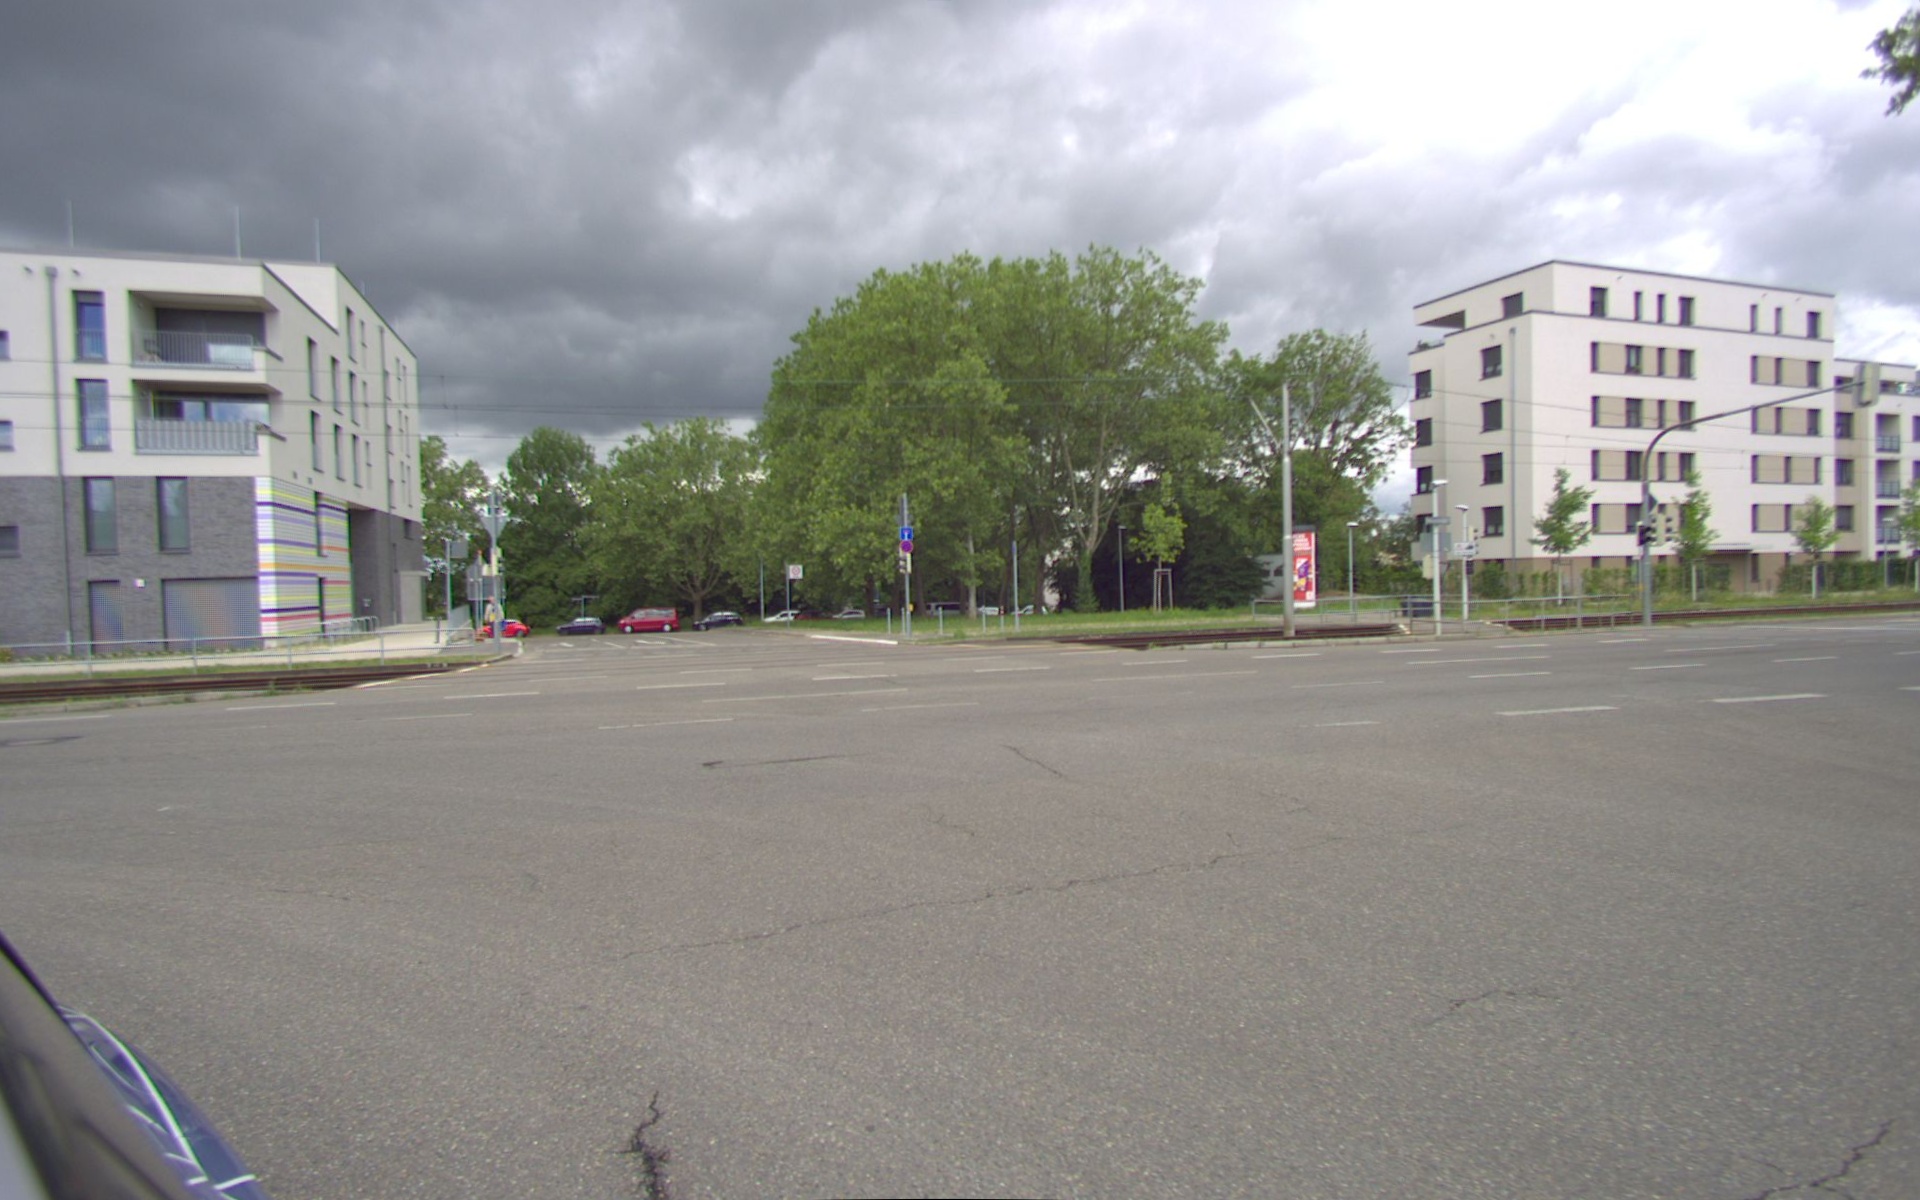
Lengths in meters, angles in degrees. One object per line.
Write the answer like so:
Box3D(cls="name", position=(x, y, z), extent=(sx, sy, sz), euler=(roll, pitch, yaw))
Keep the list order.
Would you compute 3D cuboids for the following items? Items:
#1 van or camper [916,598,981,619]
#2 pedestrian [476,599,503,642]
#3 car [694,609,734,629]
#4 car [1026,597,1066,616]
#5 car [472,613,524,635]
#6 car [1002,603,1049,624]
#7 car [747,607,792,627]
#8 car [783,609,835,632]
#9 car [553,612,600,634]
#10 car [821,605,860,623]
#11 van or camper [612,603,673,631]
Box3D(cls="van or camper", position=(-0.930, 0.694, 82.158), extent=(4.921, 1.545, 1.870), euler=(-2, 0, -18))
Box3D(cls="pedestrian", position=(-18.912, 0.816, 40.671), extent=(0.975, 1.682, 0.858), euler=(-1, 0, -25))
Box3D(cls="car", position=(-19.894, 1.534, 81.958), extent=(3.088, 1.513, 1.608), euler=(-2, 0, -12))
Box3D(cls="car", position=(8.144, 0.582, 96.464), extent=(3.736, 1.742, 1.663), euler=(-1, 0, 4))
Box3D(cls="car", position=(-35.618, 1.811, 78.114), extent=(3.483, 1.510, 1.652), euler=(-2, 0, -18))
Box3D(cls="car", position=(5.865, 1.173, 89.989), extent=(3.744, 1.661, 1.706), euler=(-2, 1, -22))
Box3D(cls="car", position=(-15.771, 1.385, 83.592), extent=(3.537, 1.548, 1.878), euler=(-2, 0, -12))
Box3D(cls="car", position=(-11.598, 1.562, 77.836), extent=(3.720, 1.674, 1.670), euler=(-1, 0, -18))
Box3D(cls="car", position=(-30.112, 1.804, 79.581), extent=(3.216, 1.513, 1.608), euler=(-2, 0, -12))
Box3D(cls="car", position=(-10.082, 1.156, 85.071), extent=(3.088, 1.354, 1.451), euler=(-2, 0, -12))
Box3D(cls="van or camper", position=(-25.326, 1.334, 80.860), extent=(4.485, 2.040, 2.053), euler=(-2, 0, -12))
